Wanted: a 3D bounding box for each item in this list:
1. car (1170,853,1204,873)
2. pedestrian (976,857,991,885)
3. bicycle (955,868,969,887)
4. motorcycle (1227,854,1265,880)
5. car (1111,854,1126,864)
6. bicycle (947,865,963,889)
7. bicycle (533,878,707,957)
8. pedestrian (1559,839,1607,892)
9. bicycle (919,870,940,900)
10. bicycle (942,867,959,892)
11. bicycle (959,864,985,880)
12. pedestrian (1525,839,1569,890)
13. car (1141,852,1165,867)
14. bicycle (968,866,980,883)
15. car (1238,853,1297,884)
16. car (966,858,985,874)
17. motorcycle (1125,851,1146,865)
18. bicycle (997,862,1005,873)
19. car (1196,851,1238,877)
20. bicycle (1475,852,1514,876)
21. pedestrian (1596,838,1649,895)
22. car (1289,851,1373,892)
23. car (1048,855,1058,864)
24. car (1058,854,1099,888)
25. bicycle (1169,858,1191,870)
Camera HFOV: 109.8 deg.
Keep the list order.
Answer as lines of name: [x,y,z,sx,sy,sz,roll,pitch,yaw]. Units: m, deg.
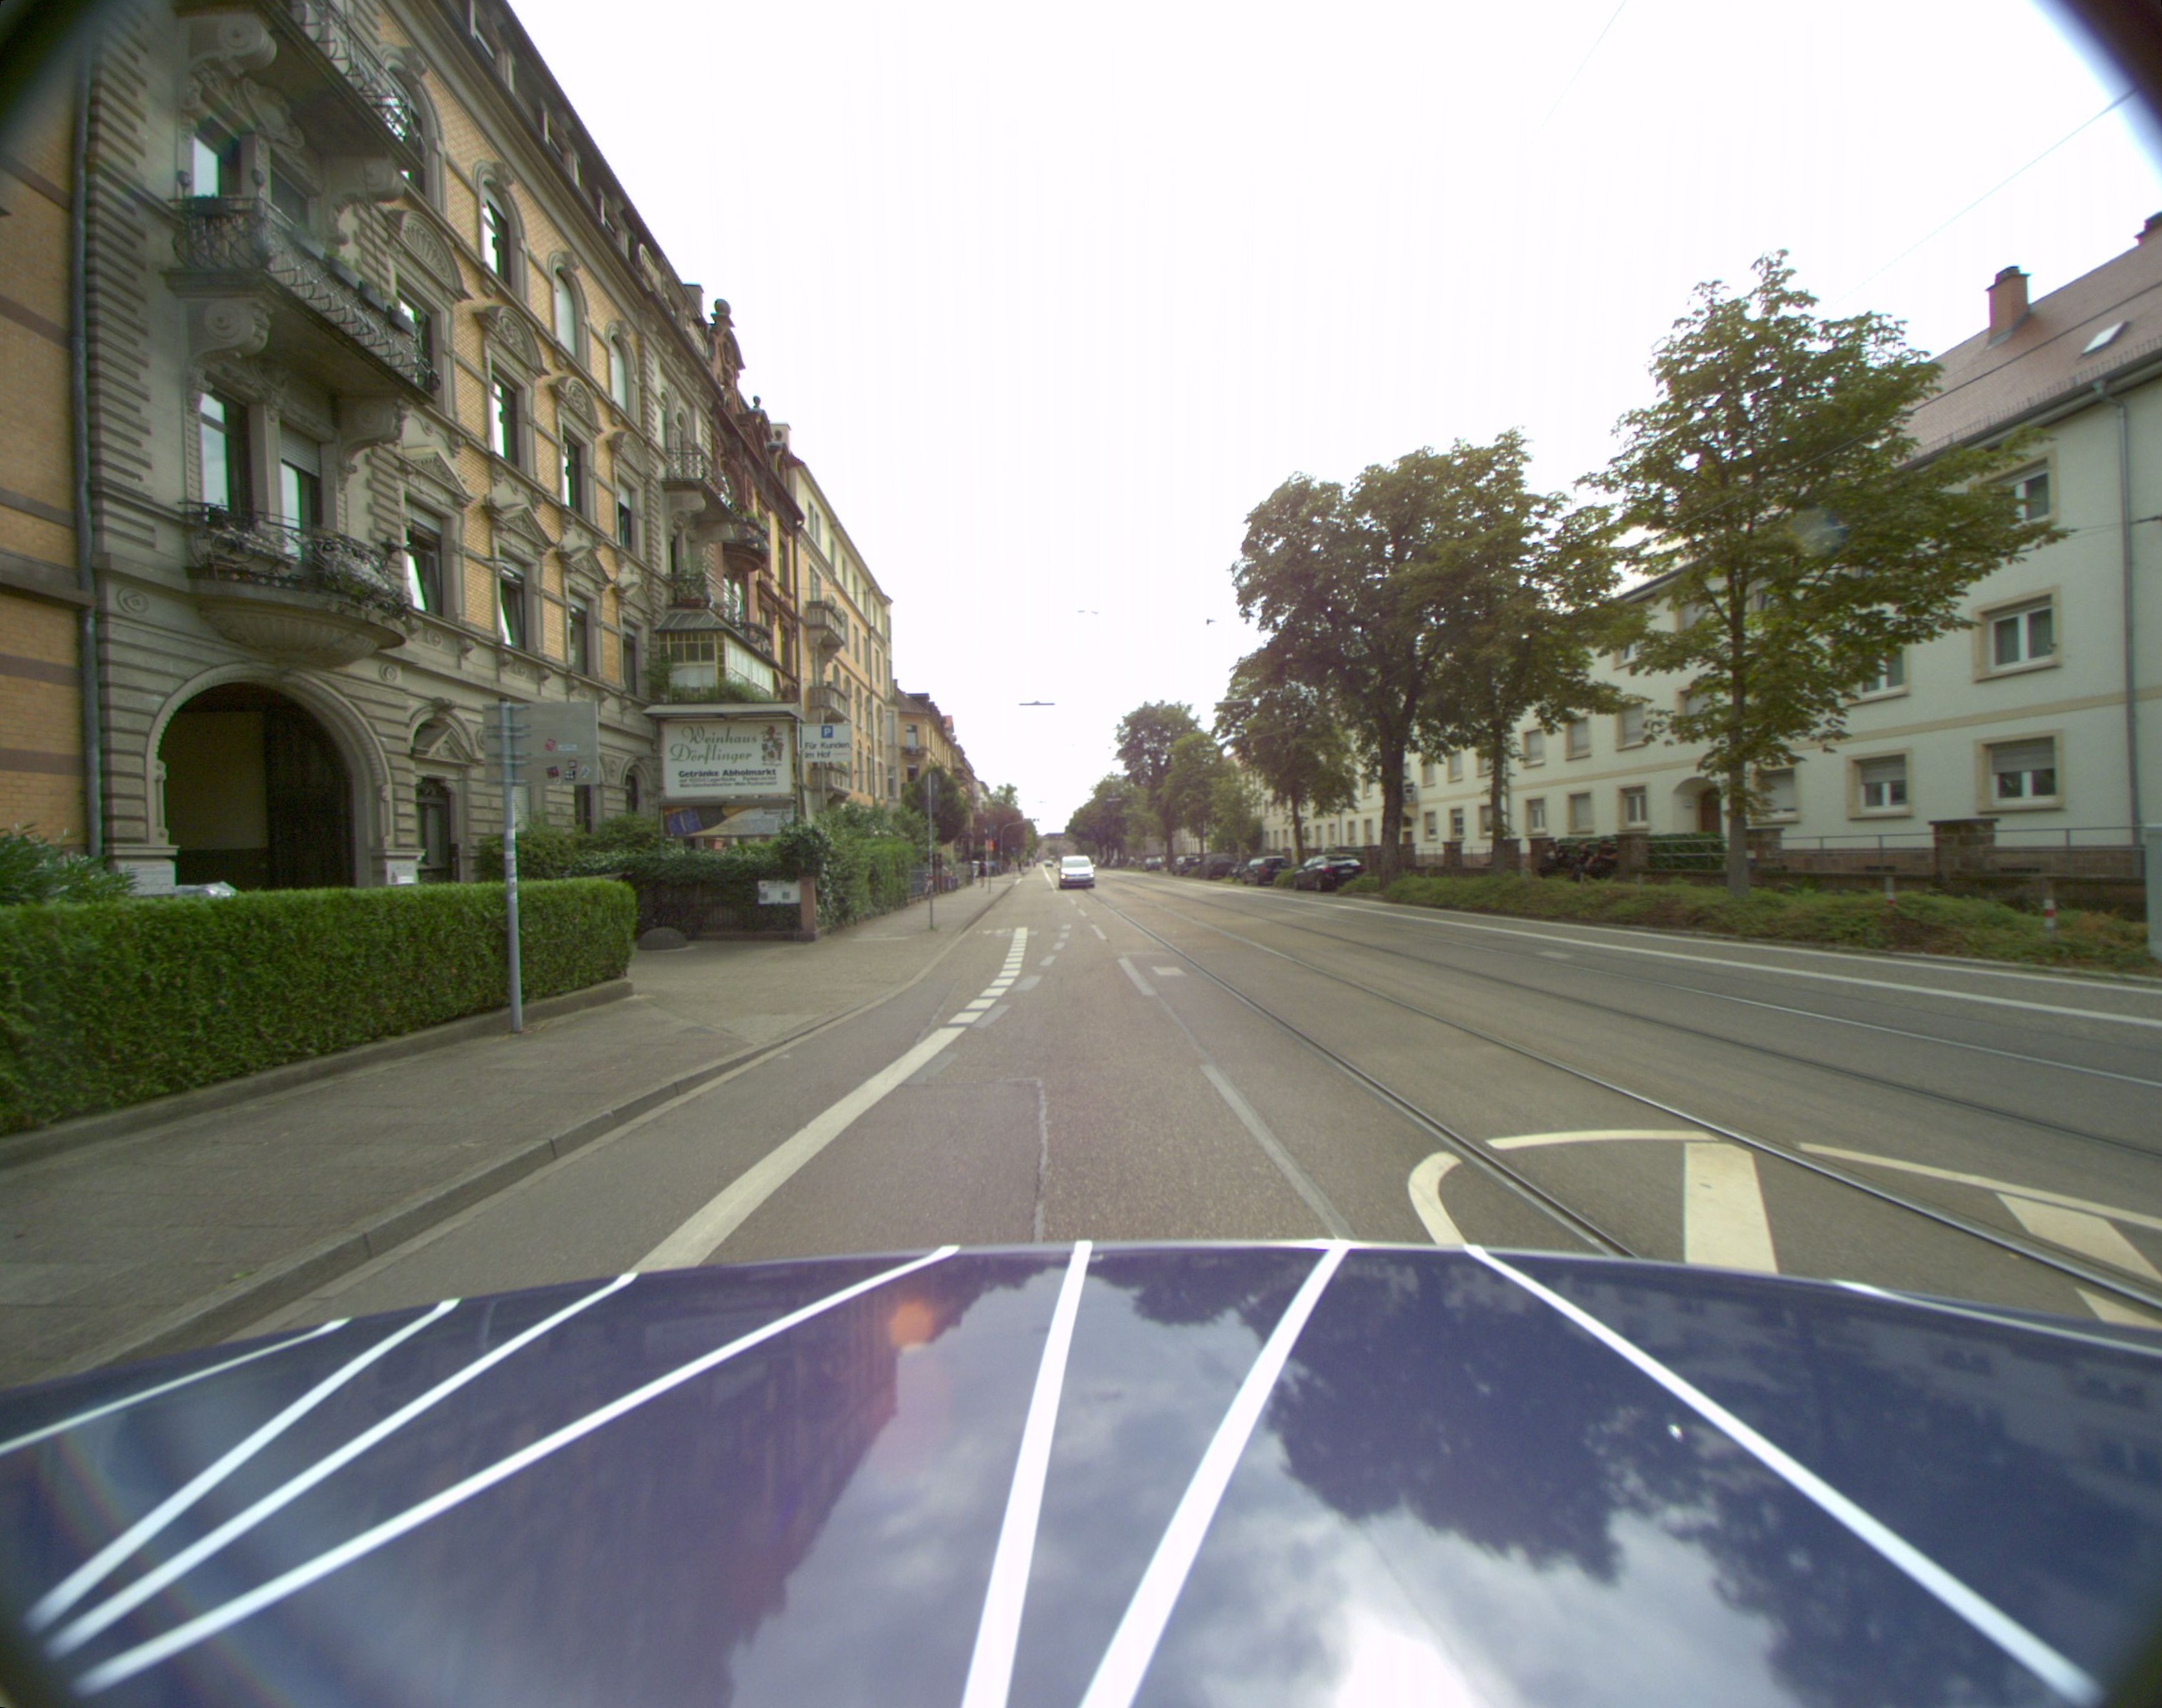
car: [8.336,0.663,59.835,1.701,1.462,4.298,-2,0,-5]
pedestrian: [-5.632,0.978,43.855,0.732,1.614,0.835,-2,0,-3]
bicycle: [-6.417,1.260,40.990,0.580,0.977,1.671,2,0,-4]
motorcycle: [9.343,0.710,42.944,1.872,1.253,0.591,-7,1,-6]
car: [5.747,0.826,116.332,1.732,1.462,4.298,-2,0,-5]
bicycle: [-6.178,1.138,37.362,0.580,1.105,1.671,2,0,-4]
bicycle: [-8.468,1.142,14.053,2.631,1.304,0.770,-2,0,-5]
pedestrian: [14.200,0.322,21.498,0.835,1.456,0.732,-2,0,-8]
bicycle: [-5.973,1.224,30.034,0.580,1.105,1.671,-2,0,-4]
bicycle: [-6.071,1.176,35.392,0.580,1.105,1.671,2,0,-4]
bicycle: [-8.065,1.340,56.299,0.629,1.106,1.878,-1,0,40]
pedestrian: [14.127,0.315,23.029,0.835,1.503,0.732,-2,1,-8]
car: [7.422,0.583,78.964,1.701,1.462,4.298,-2,0,-5]
bicycle: [-6.619,1.255,46.877,0.580,0.977,1.671,2,0,-4]
car: [9.509,0.704,39.090,1.701,1.415,4.299,-3,0,-3]
car: [-10.255,1.137,73.768,1.757,1.516,3.997,-2,0,-8]
motorcycle: [6.836,0.484,94.612,2.312,1.382,0.838,-7,1,29]
bicycle: [-8.407,1.364,79.675,0.630,1.106,1.874,-2,0,-2]
car: [8.990,0.655,50.531,1.790,1.602,4.299,-2,0,-3]
bicycle: [14.917,0.353,27.460,0.510,0.858,1.549,-2,0,-2]
pedestrian: [14.373,0.322,20.180,0.835,1.456,0.732,-2,0,-8]
car: [10.041,0.668,30.869,1.701,1.415,4.299,-5,0,-3]
car: [-6.080,1.193,166.191,1.947,1.675,4.000,-1,0,1]
car: [-0.210,0.855,41.331,1.876,1.670,5.129,-2,0,-3]
bicycle: [8.412,0.871,64.434,1.672,0.965,0.672,-2,0,-12]
